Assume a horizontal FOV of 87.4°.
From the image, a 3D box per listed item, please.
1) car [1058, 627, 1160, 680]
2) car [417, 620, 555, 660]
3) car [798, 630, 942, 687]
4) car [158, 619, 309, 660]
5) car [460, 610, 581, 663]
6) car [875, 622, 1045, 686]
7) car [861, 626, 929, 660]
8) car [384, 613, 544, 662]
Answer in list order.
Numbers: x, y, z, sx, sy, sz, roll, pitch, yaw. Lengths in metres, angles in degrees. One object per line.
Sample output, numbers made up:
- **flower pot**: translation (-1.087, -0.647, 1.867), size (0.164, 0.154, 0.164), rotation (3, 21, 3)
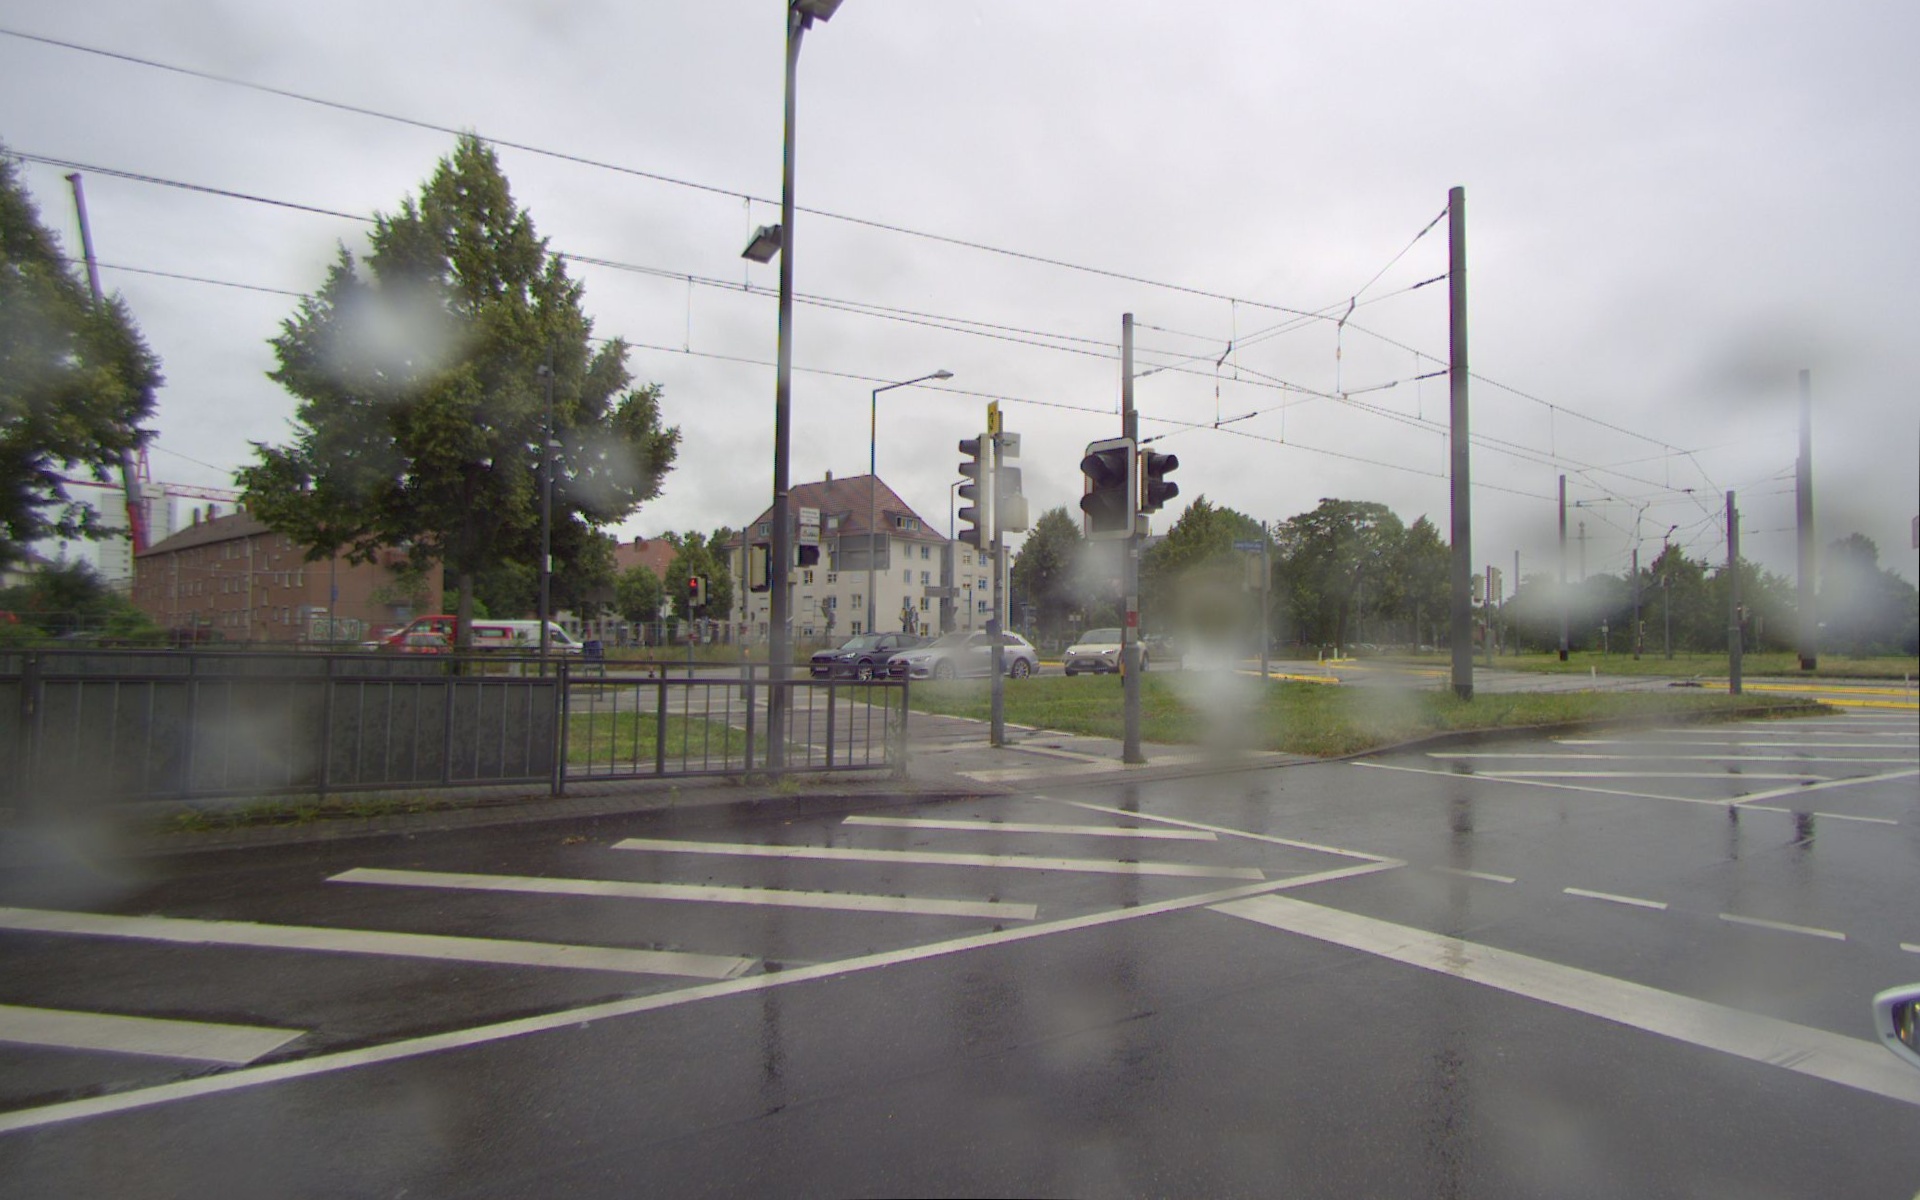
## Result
- **car**: translation (4.932, 1.687, 32.806), size (1.819, 1.506, 4.217), rotation (2, 0, 31)
- **car**: translation (-24.875, 2.092, 53.036), size (6.329, 2.040, 2.347), rotation (1, -2, -20)
- **car**: translation (-2.574, 1.659, 29.412), size (1.806, 1.506, 3.976), rotation (2, 0, 44)
- **car**: translation (-39.589, 2.121, 54.890), size (2.325, 2.040, 6.388), rotation (2, 0, 44)
- **car**: translation (-26.051, 2.170, 59.834), size (6.329, 2.978, 2.346), rotation (2, 0, -20)
- **car**: translation (0.080, 1.403, 27.048), size (4.595, 1.506, 1.807), rotation (2, 0, -44)
- **car**: translation (-4.895, 3.216, 75.798), size (4.743, 2.358, 2.001), rotation (2, 0, 12)
- **car**: translation (-22.778, 1.733, 46.477), size (6.329, 2.040, 2.346), rotation (2, 0, -20)
